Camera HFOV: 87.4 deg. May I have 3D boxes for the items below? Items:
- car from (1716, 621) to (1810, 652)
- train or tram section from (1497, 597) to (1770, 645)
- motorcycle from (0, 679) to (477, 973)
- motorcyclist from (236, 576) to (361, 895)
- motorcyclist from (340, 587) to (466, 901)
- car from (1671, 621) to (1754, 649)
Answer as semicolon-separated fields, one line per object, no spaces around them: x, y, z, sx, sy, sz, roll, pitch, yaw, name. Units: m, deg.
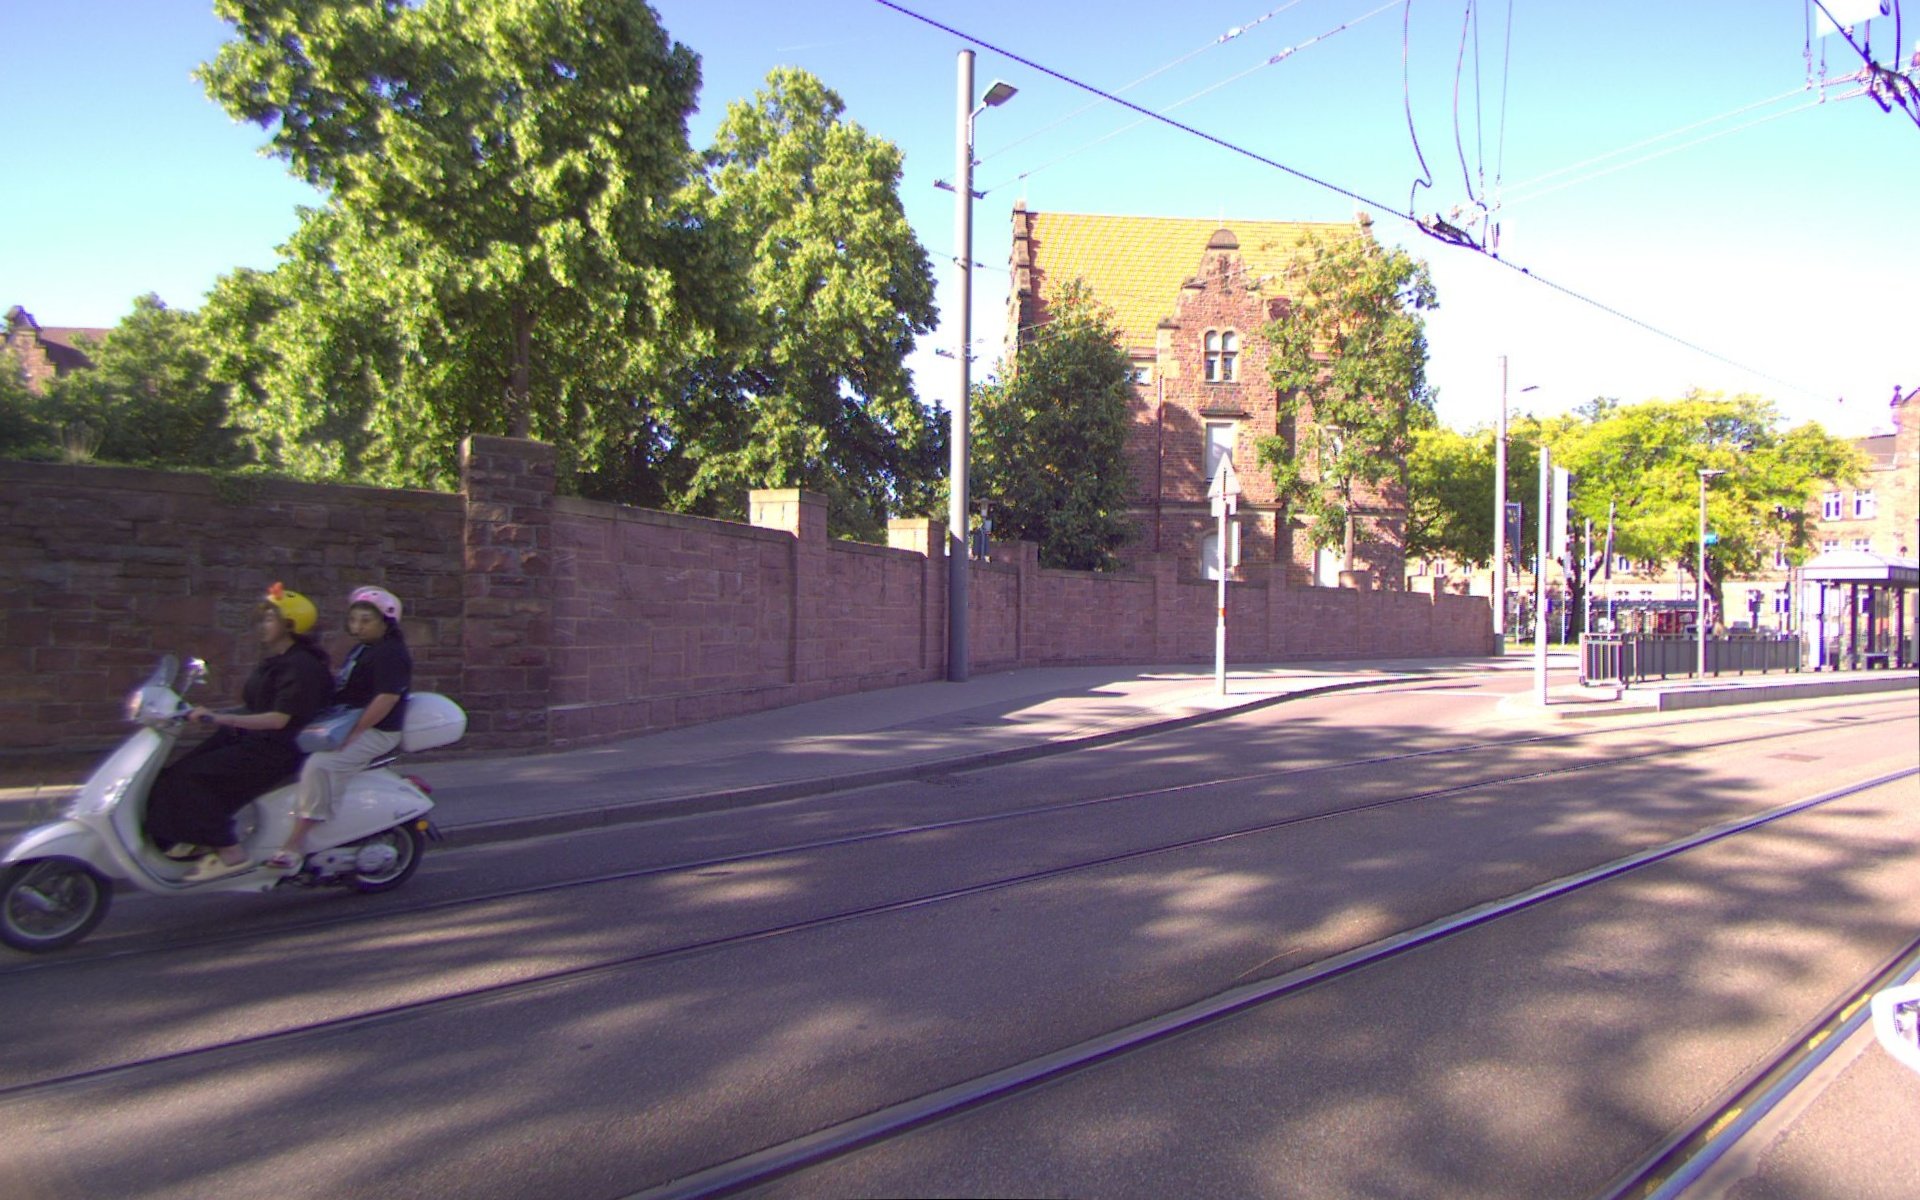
47.755;2.180;59.797;1.798;1.651;3.964;2;0;-32;car
50.031;1.481;75.886;3.312;3.196;17.280;2;-1;-33;train or tram section
-3.431;0.987;4.897;1.841;1.108;0.604;1;0;-39;motorcycle
-3.302;0.623;5.001;0.442;1.460;0.678;1;0;-39;motorcyclist
-2.944;0.710;5.299;0.462;1.536;0.601;1;0;-39;motorcyclist
49.180;2.263;65.681;1.798;1.651;3.964;2;0;-32;car
